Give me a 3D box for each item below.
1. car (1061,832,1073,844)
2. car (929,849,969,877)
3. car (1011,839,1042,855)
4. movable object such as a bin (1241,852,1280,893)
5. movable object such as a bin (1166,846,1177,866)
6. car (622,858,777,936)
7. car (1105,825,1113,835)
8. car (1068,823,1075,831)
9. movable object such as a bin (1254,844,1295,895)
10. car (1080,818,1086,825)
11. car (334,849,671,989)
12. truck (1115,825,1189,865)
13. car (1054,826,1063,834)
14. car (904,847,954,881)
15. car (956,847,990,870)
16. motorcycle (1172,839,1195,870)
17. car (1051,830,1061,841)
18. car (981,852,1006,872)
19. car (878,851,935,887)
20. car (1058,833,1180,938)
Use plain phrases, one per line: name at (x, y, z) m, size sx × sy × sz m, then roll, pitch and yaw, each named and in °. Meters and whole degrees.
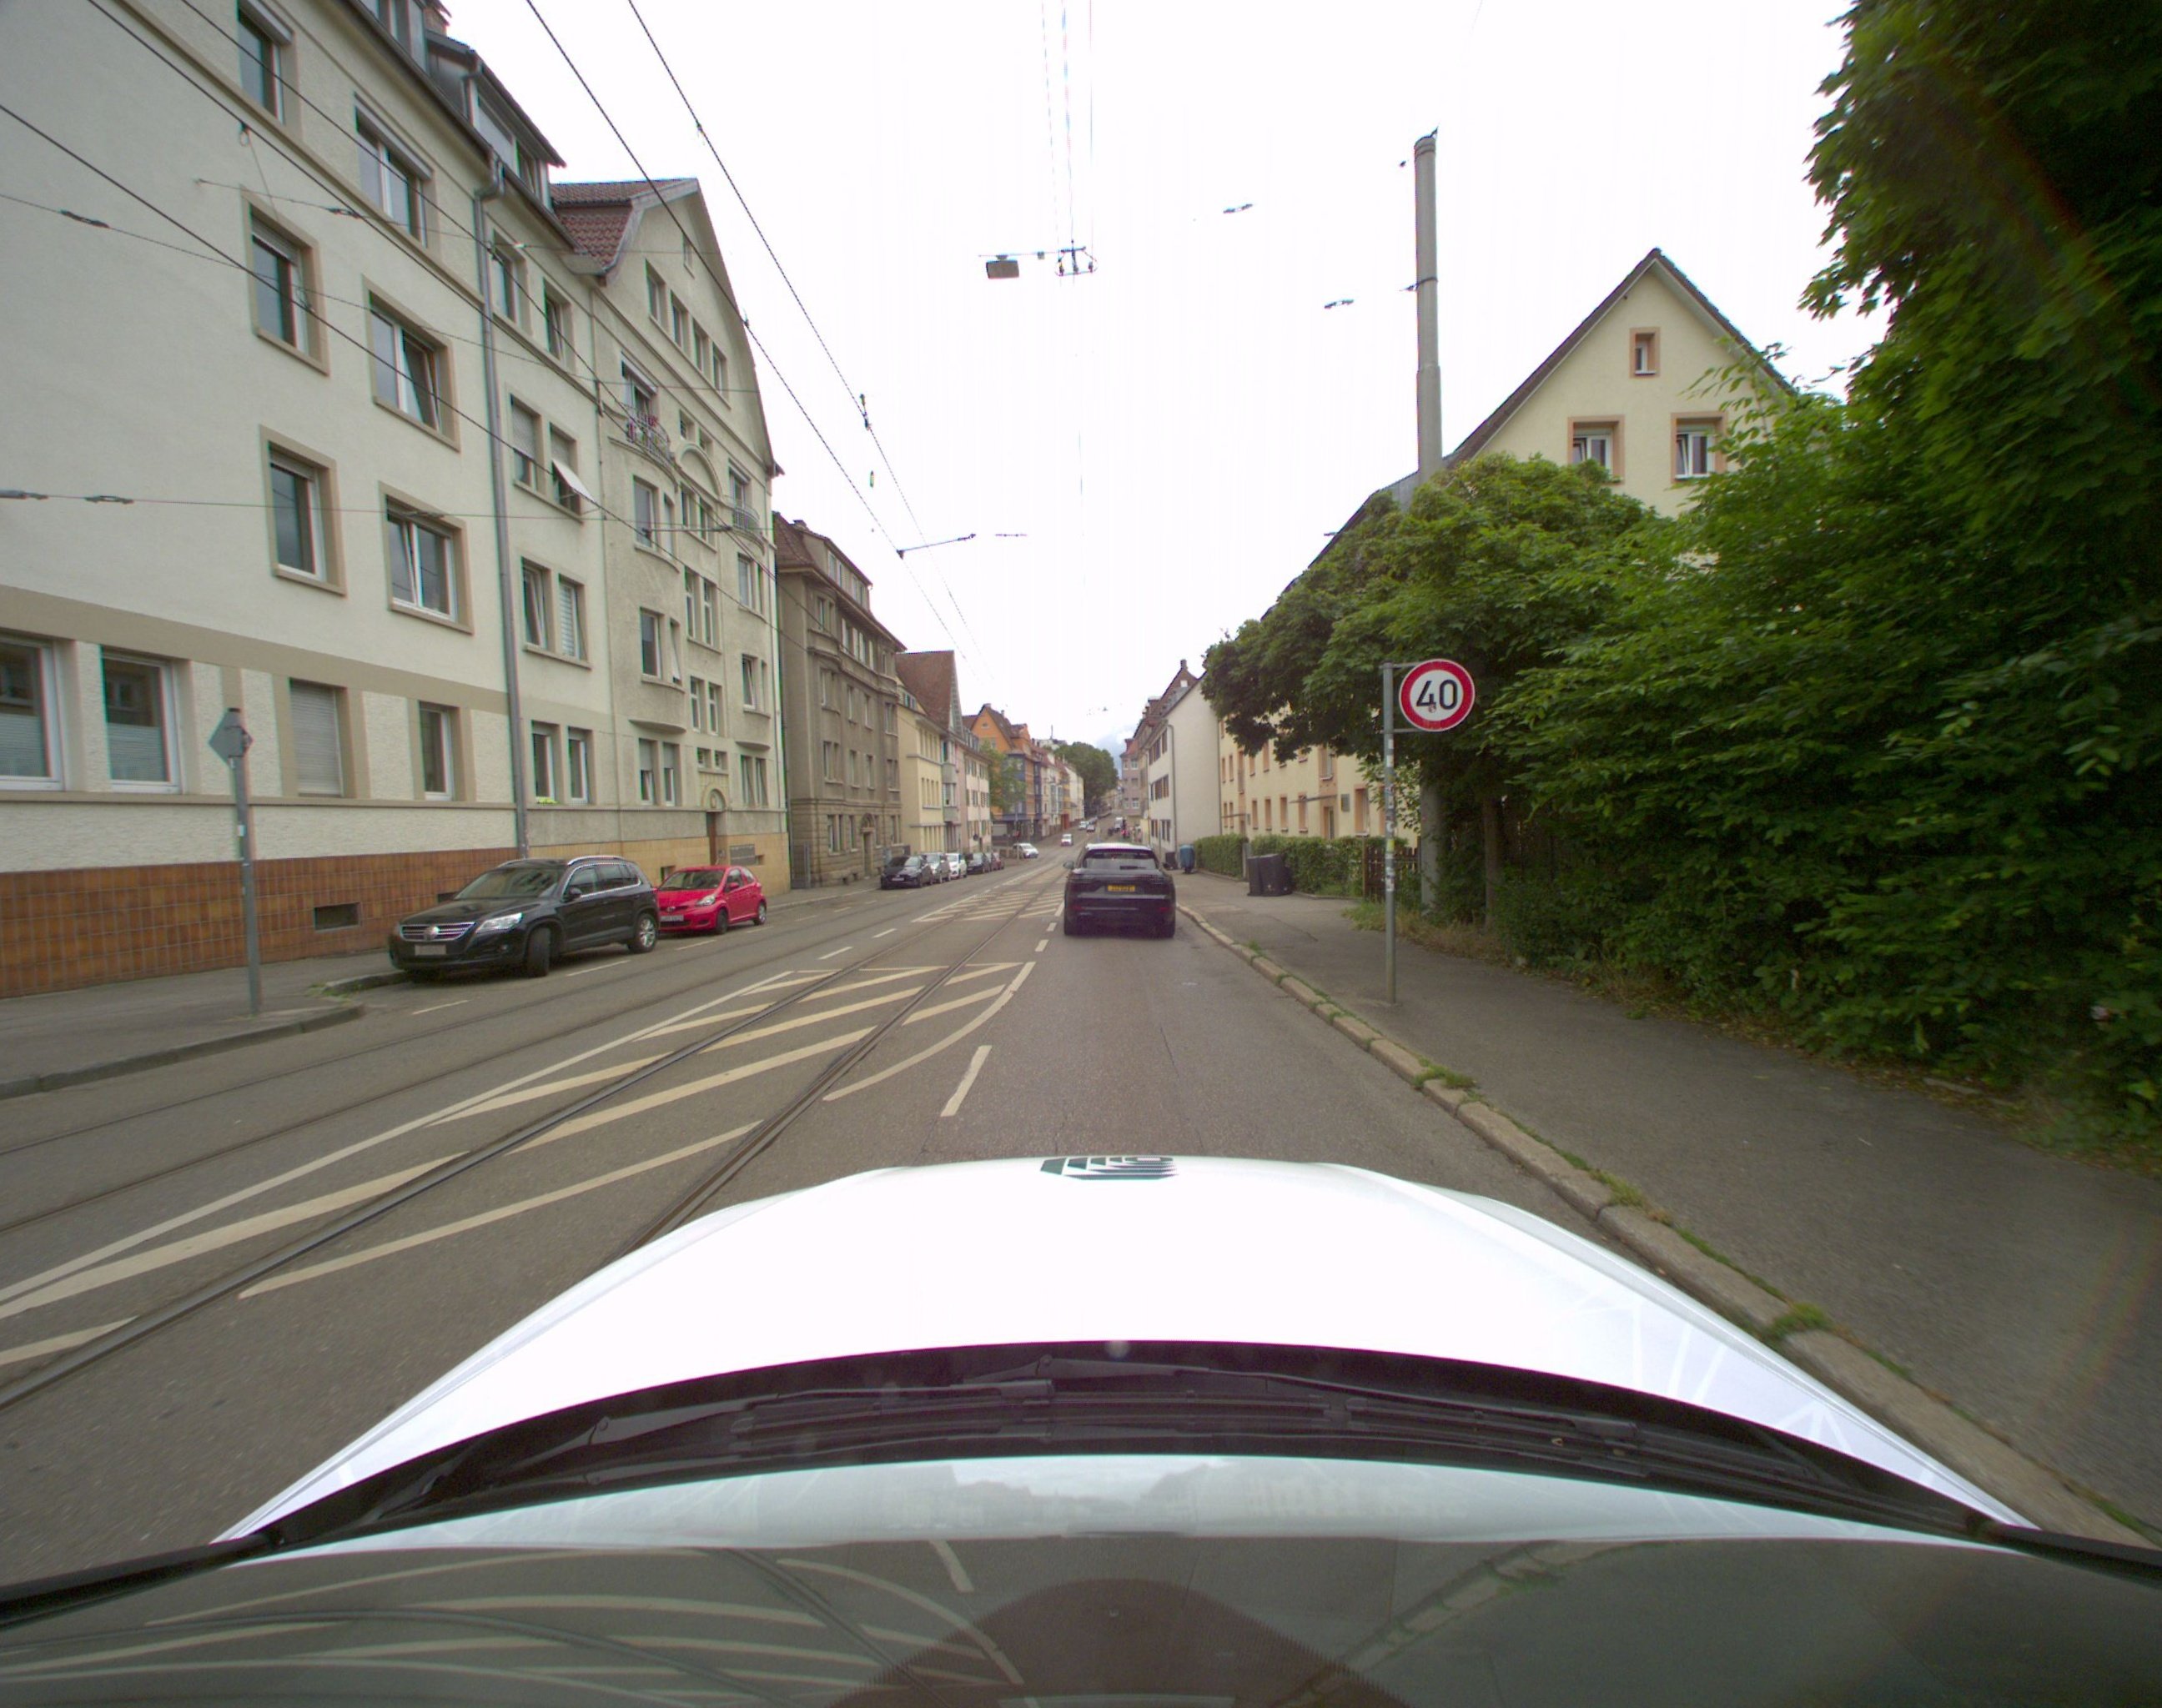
car at (-2.213, -2.567, 132.001) m, size 1.744 × 1.759 × 4.256 m, roll -2°, pitch 0°, yaw 2°
car at (-7.638, 0.495, 47.382) m, size 1.615 × 1.463 × 3.686 m, roll -3°, pitch 0°, yaw 1°
car at (-6.666, -0.850, 99.128) m, size 1.934 × 1.818 × 4.175 m, roll -2°, pitch 0°, yaw -32°
movable object such as a bin at (4.687, 0.477, 21.264) m, size 0.790 × 1.012 × 0.788 m, roll -2°, pitch 0°, yaw -3°
movable object such as a bin at (5.133, 0.112, 46.287) m, size 0.586 × 1.080 × 0.692 m, roll -2°, pitch 0°, yaw 3°
car at (-8.263, 0.861, 18.025) m, size 1.616 × 1.463 × 3.745 m, roll -3°, pitch 0°, yaw 0°
car at (5.302, -4.467, 154.050) m, size 1.389 × 1.722 × 3.360 m, roll -2°, pitch 0°, yaw 2°
car at (-1.978, -5.765, 174.483) m, size 1.389 × 1.450 × 3.360 m, roll -2°, pitch 0°, yaw 2°
movable object such as a bin at (4.873, 0.383, 20.516) m, size 0.790 × 1.218 × 0.788 m, roll -2°, pitch 0°, yaw -3°
car at (0.427, -7.552, 191.422) m, size 1.389 × 1.450 × 3.360 m, roll -2°, pitch 0°, yaw 2°
car at (-8.259, 0.812, 12.273) m, size 1.861 × 1.646 × 4.401 m, roll -3°, pitch 0°, yaw 0°
truck at (8.115, -0.959, 93.723) m, size 8.481 × 4.182 × 2.274 m, roll -2°, pitch -2°, yaw 36°
car at (-4.179, -4.519, 153.667) m, size 1.389 × 1.450 × 3.360 m, roll -2°, pitch 0°, yaw 2°
car at (-7.667, 0.491, 41.427) m, size 1.615 × 1.604 × 4.350 m, roll -3°, pitch 0°, yaw 0°
car at (-7.318, 0.306, 55.615) m, size 1.615 × 1.473 × 4.555 m, roll -3°, pitch 0°, yaw 0°
motorcycle at (4.954, 0.014, 39.366) m, size 0.835 × 1.456 × 2.554 m, roll -2°, pitch 0°, yaw 2°
car at (-4.344, -3.180, 140.816) m, size 1.389 × 1.722 × 3.360 m, roll -2°, pitch 0°, yaw 2°
car at (-7.218, 0.660, 67.527) m, size 1.616 × 1.490 × 4.046 m, roll -3°, pitch 0°, yaw 0°
car at (-7.806, 0.644, 36.720) m, size 1.616 × 1.463 × 4.032 m, roll -3°, pitch 0°, yaw 0°
car at (0.664, 0.507, 15.549) m, size 1.987 × 1.676 × 4.001 m, roll -2°, pitch 0°, yaw 1°
